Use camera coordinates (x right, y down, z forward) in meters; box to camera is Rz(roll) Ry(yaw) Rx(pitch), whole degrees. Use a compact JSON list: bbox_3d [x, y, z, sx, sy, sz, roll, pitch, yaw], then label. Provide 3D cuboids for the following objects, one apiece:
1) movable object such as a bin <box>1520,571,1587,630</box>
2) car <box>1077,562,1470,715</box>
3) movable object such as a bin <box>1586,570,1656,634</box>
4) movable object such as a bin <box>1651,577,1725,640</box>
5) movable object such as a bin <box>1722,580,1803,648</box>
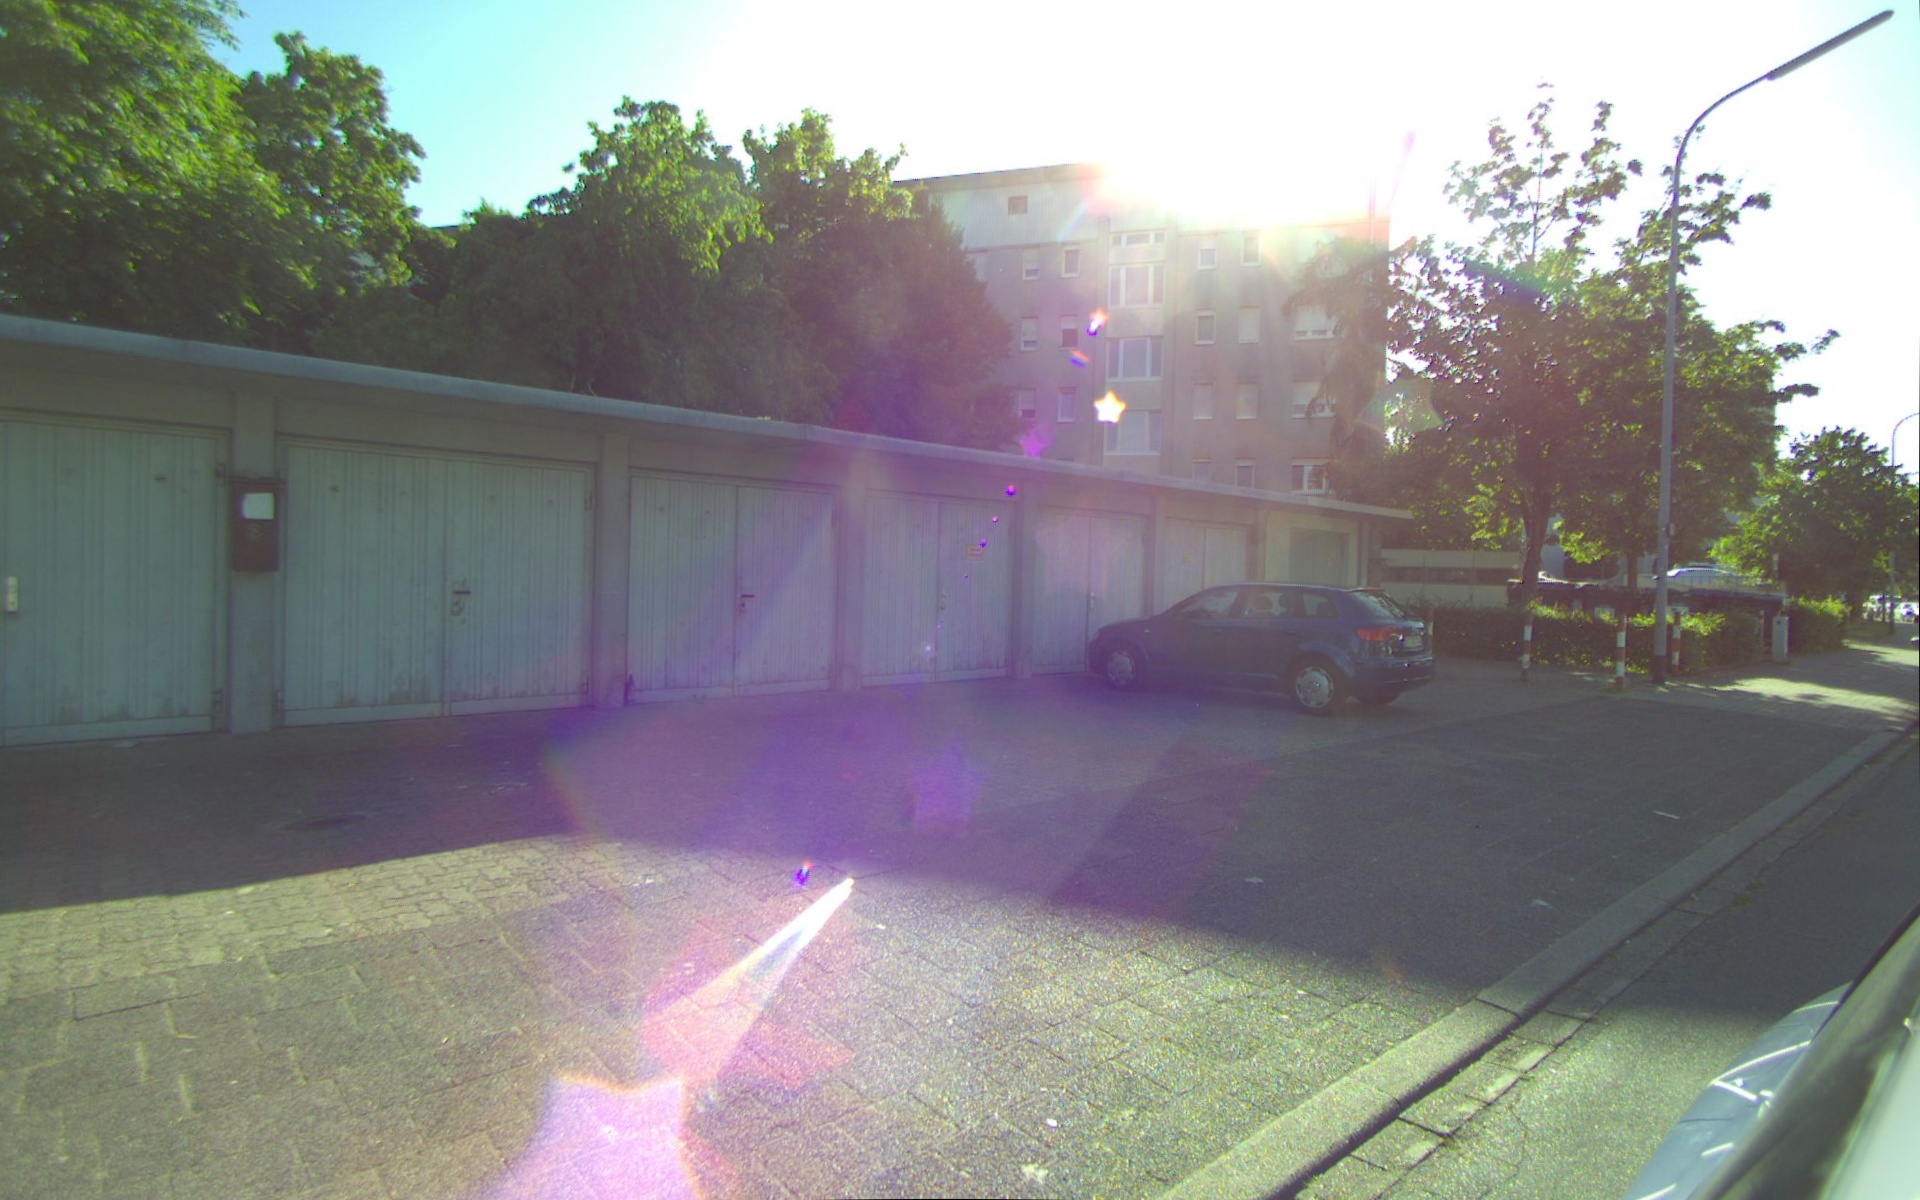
[{"bbox_3d":[15.657,-0.013,26.695,1.321,1.499,1.013,2,1,43],"label":"movable object such as a bin"},{"bbox_3d":[3.596,0.317,12.177,1.788,1.513,4.186,0,2,-44],"label":"car"},{"bbox_3d":[16.802,0.035,25.730,1.324,1.556,1.013,2,1,43],"label":"movable object such as a bin"},{"bbox_3d":[17.782,0.188,24.718,1.324,1.449,1.013,2,1,43],"label":"movable object such as a bin"},{"bbox_3d":[18.793,0.302,23.703,1.325,1.445,1.053,6,4,43],"label":"movable object such as a bin"}]
